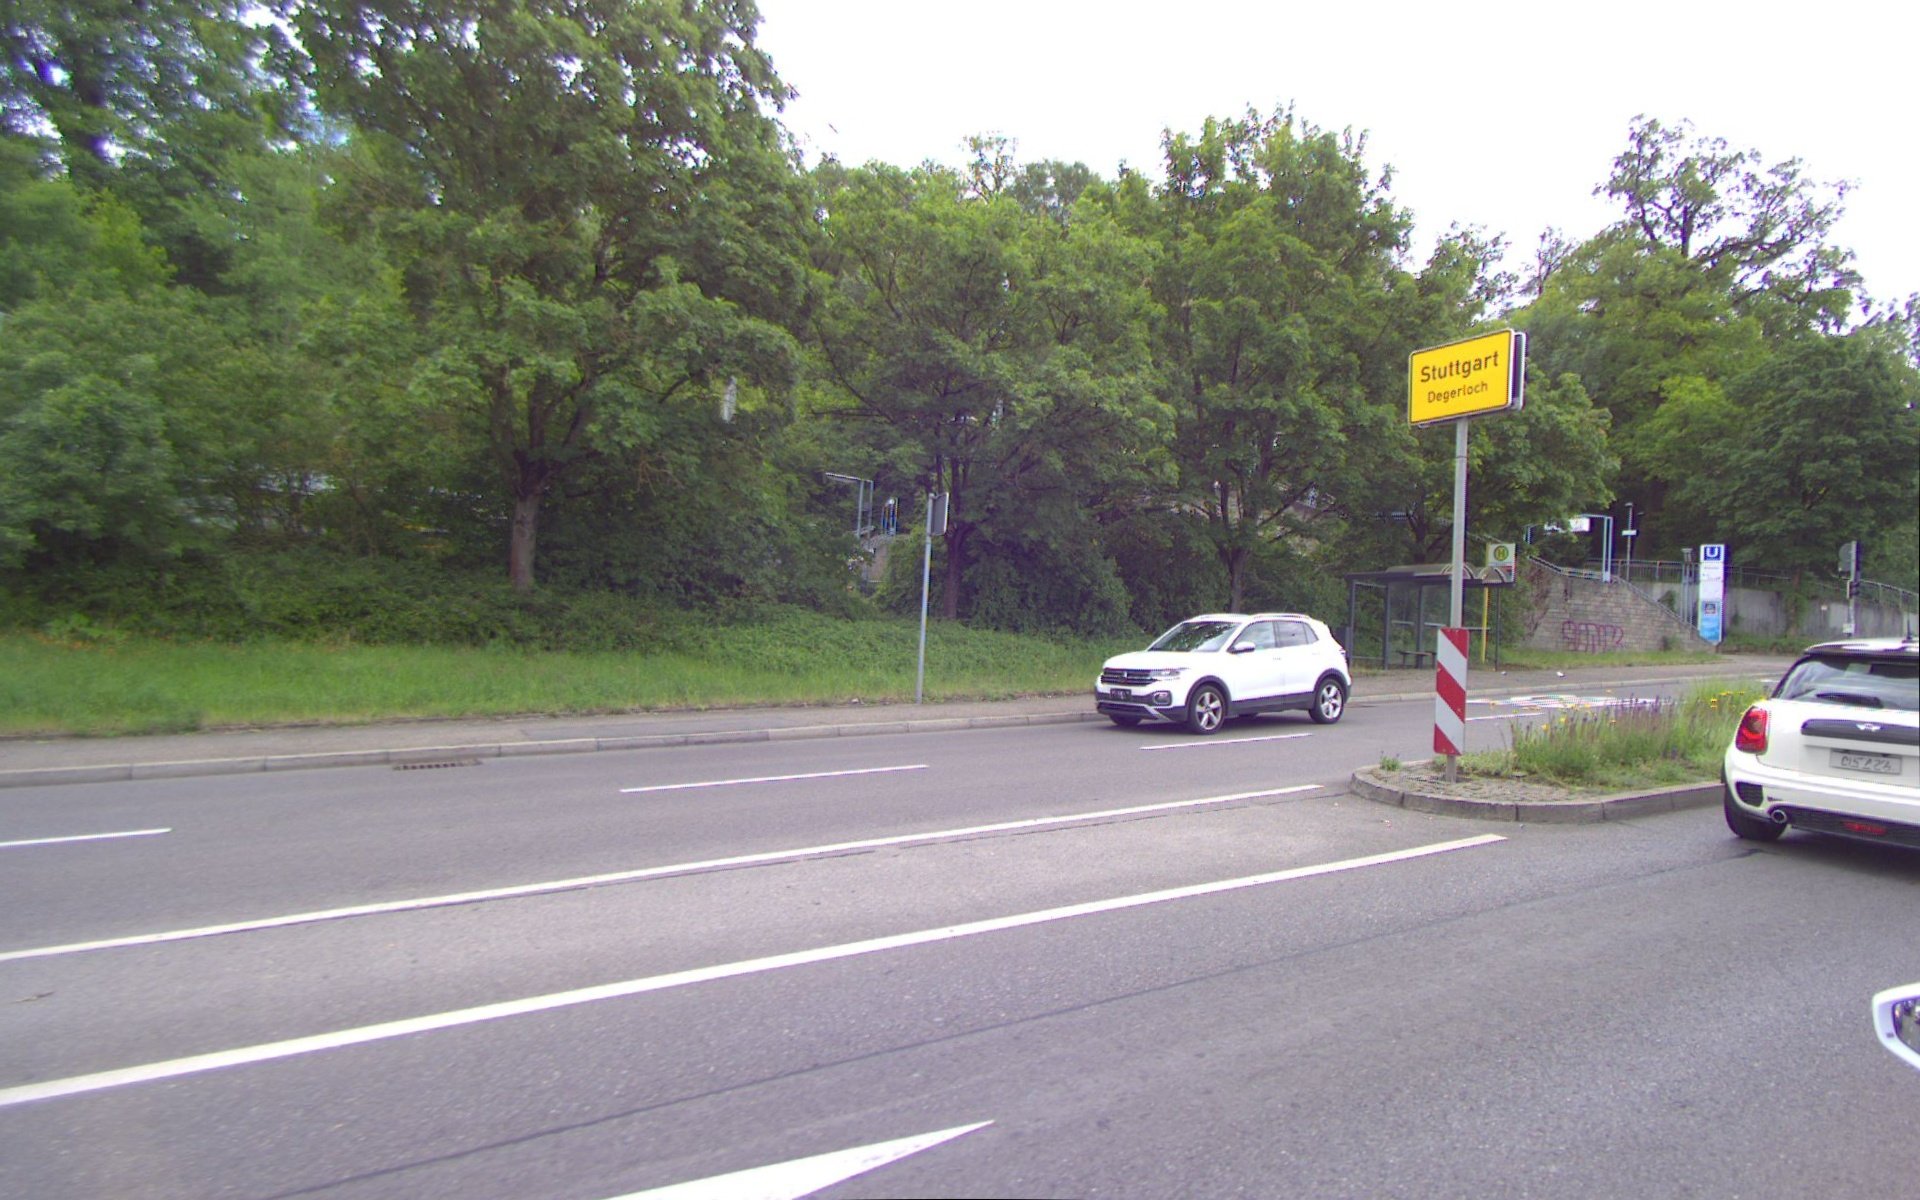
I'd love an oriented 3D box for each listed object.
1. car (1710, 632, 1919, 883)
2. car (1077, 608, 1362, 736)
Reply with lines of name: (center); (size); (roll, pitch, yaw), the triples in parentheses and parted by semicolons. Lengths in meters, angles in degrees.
car: (6.898, 0.947, 6.807); (3.522, 1.412, 1.621); (1, -1, -29)
car: (3.770, 0.948, 14.374); (4.001, 1.561, 1.718); (1, 0, -34)
